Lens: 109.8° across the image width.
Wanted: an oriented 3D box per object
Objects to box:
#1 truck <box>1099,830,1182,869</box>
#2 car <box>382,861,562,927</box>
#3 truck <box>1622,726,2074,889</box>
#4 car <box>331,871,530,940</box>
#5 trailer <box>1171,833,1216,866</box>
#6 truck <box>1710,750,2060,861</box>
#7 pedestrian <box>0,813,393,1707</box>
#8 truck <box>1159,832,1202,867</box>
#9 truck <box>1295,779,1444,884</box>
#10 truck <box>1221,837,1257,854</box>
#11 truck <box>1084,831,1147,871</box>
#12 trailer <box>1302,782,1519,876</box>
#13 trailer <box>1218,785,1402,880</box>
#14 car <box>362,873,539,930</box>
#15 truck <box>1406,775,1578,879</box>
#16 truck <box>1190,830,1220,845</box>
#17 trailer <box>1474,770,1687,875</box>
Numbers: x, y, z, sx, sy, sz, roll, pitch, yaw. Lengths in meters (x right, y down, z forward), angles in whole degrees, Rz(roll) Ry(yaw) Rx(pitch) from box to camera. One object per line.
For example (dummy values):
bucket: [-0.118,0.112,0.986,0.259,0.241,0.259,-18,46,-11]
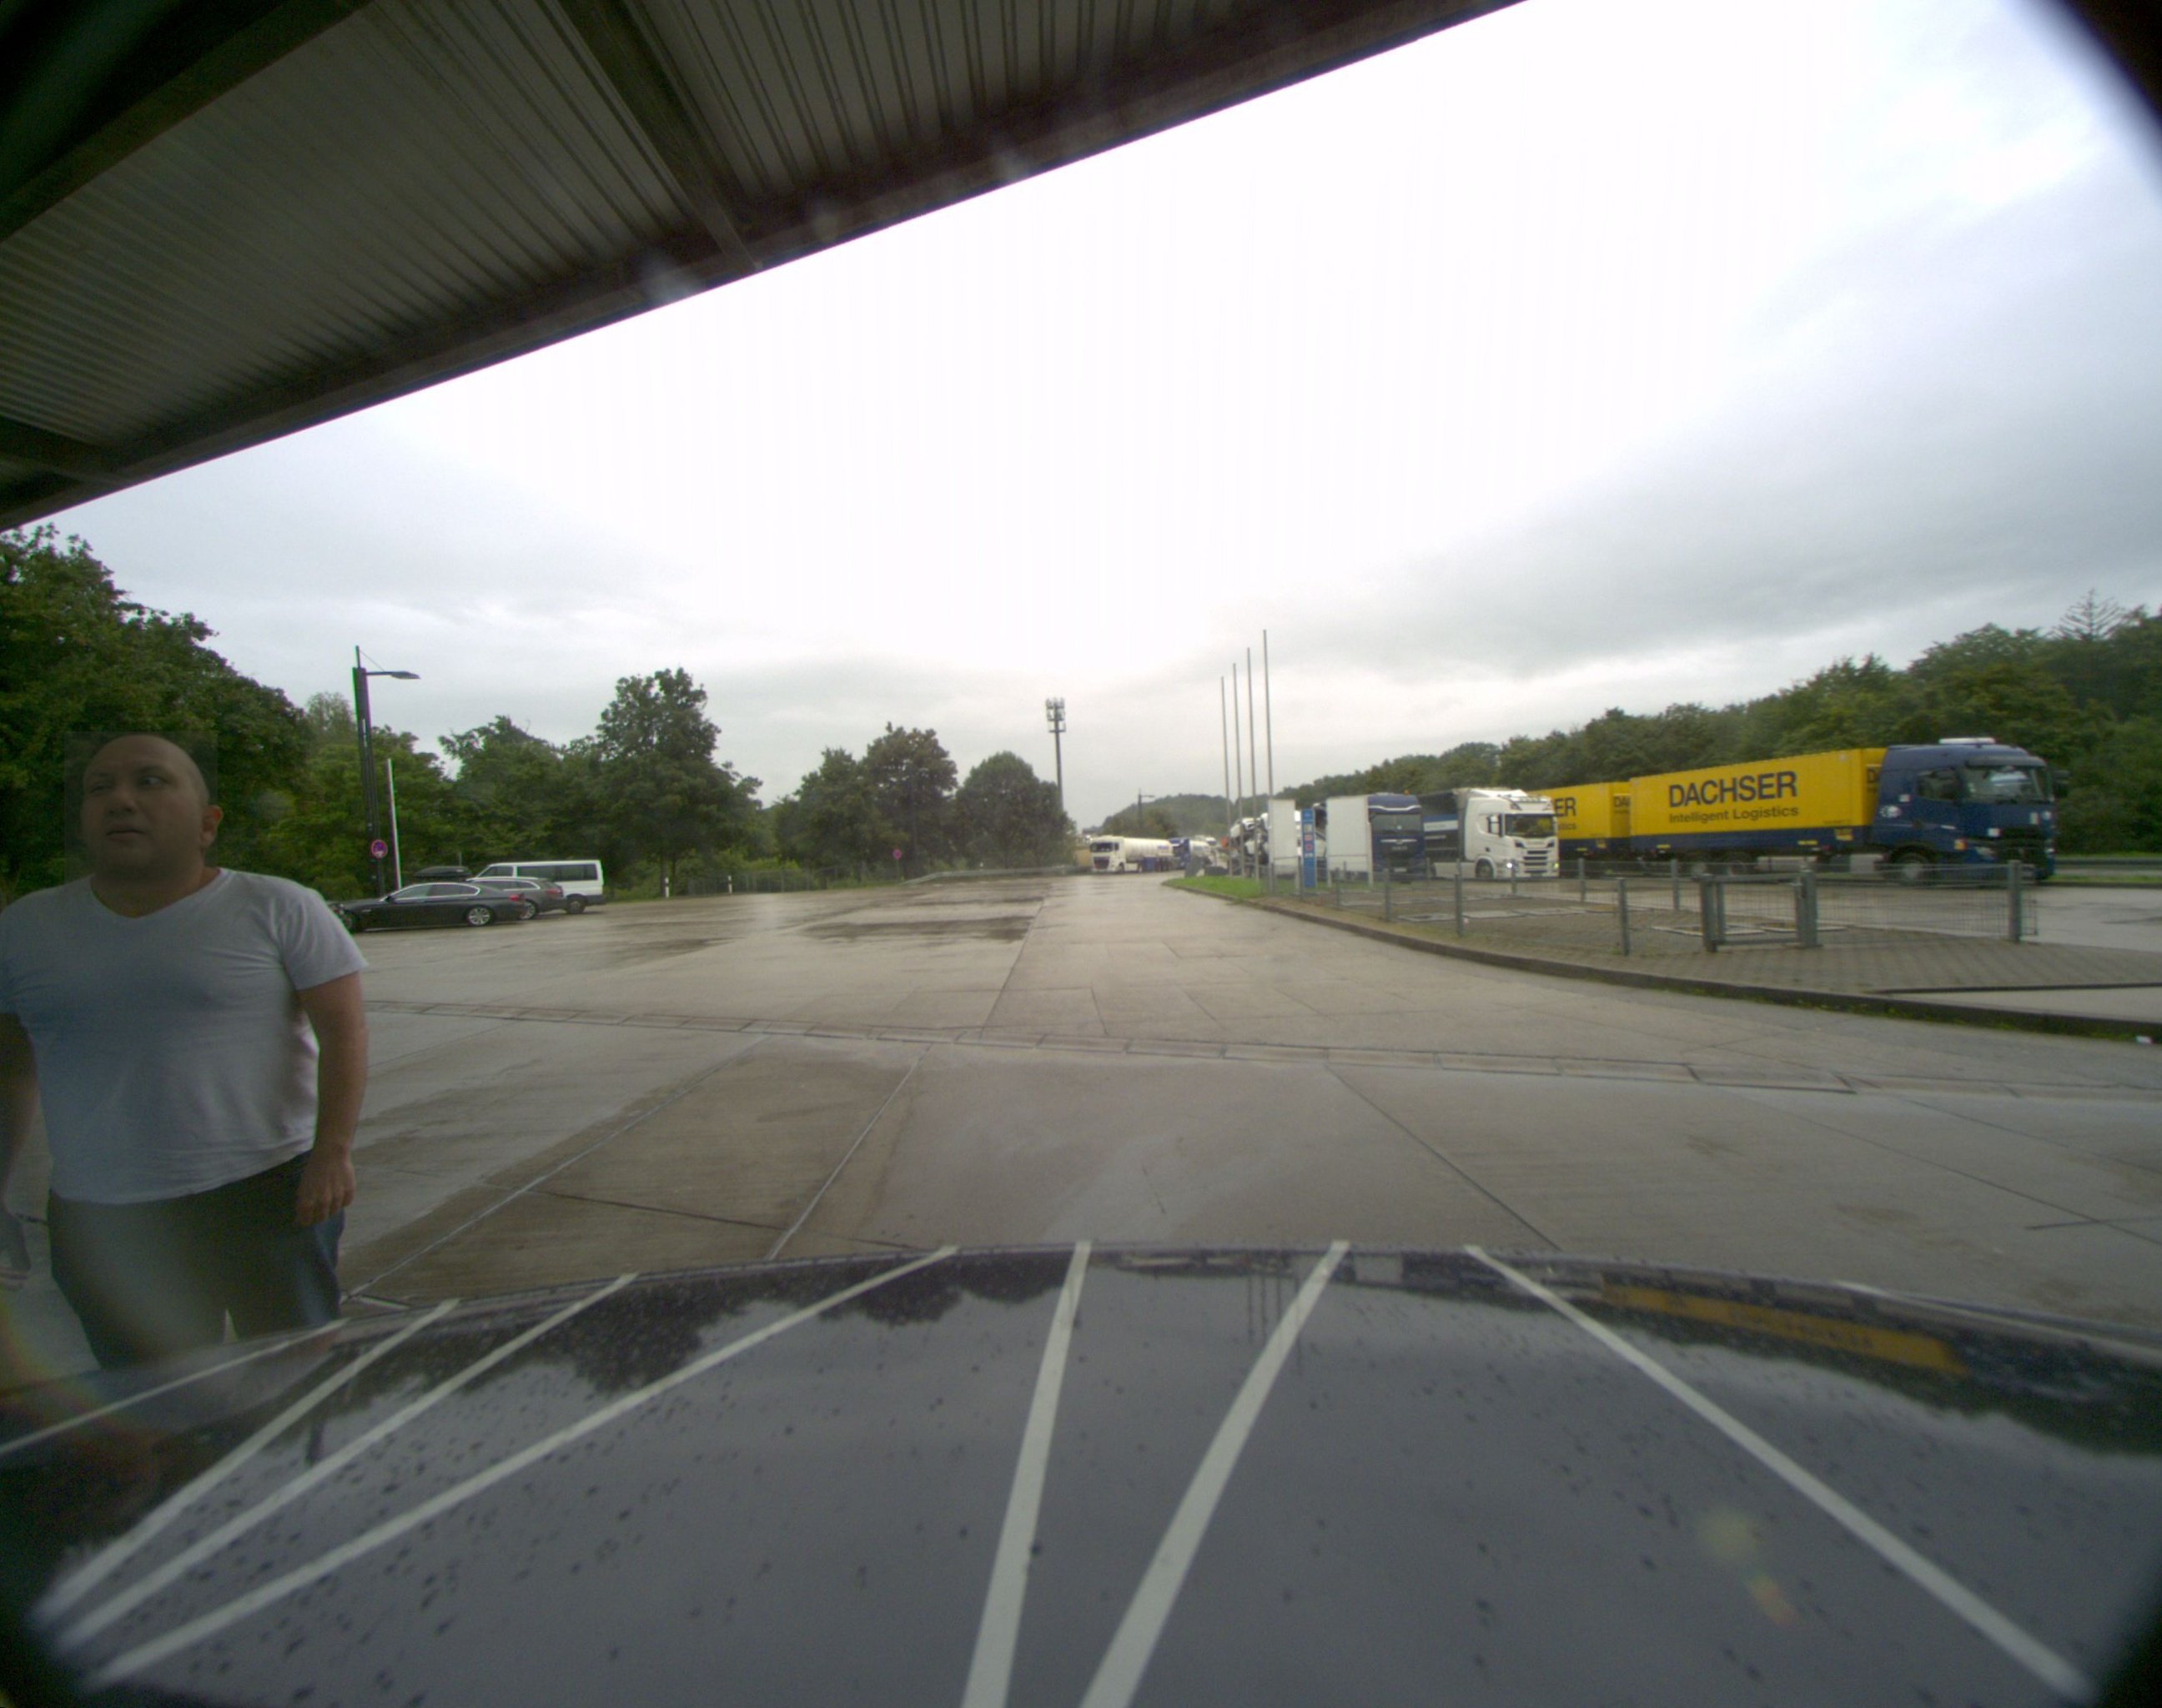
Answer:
truck: [6.189,-0.522,76.367,3.243,3.544,11.995,-2,1,31]
car: [-21.400,1.335,27.004,4.780,1.974,2.010,-2,0,-36]
truck: [23.053,-1.210,24.327,2.774,4.009,10.632,-2,1,-8]
car: [-19.106,1.449,22.619,4.187,1.720,1.995,-2,0,-33]
trailer: [13.657,-0.651,91.459,2.898,3.618,10.586,-2,1,22]
truck: [33.765,-1.816,32.951,2.991,4.009,10.464,-2,1,-10]
pedestrian: [-1.888,0.836,1.490,0.635,1.800,0.493,-4,3,-34]
truck: [11.317,-0.524,85.751,3.045,3.745,6.475,-2,1,23]
truck: [12.294,-0.920,33.265,2.990,4.009,7.259,-2,1,-7]
truck: [34.702,-1.741,167.363,3.251,3.543,14.657,-2,0,-7]
truck: [3.306,-0.355,71.455,3.243,3.544,6.114,-2,1,31]
trailer: [16.393,-1.132,39.889,2.992,4.009,13.793,-2,1,-12]
trailer: [11.365,-0.997,40.956,2.990,4.009,16.597,-2,1,-7]
car: [-20.371,1.476,24.844,4.187,1.547,1.995,-2,0,-33]
truck: [17.648,-1.104,33.239,2.991,4.009,6.736,-2,1,-10]
truck: [31.461,-4.108,193.763,3.251,3.543,16.548,-2,1,-7]
trailer: [21.775,-1.272,34.010,2.774,4.009,8.853,-2,1,-8]
